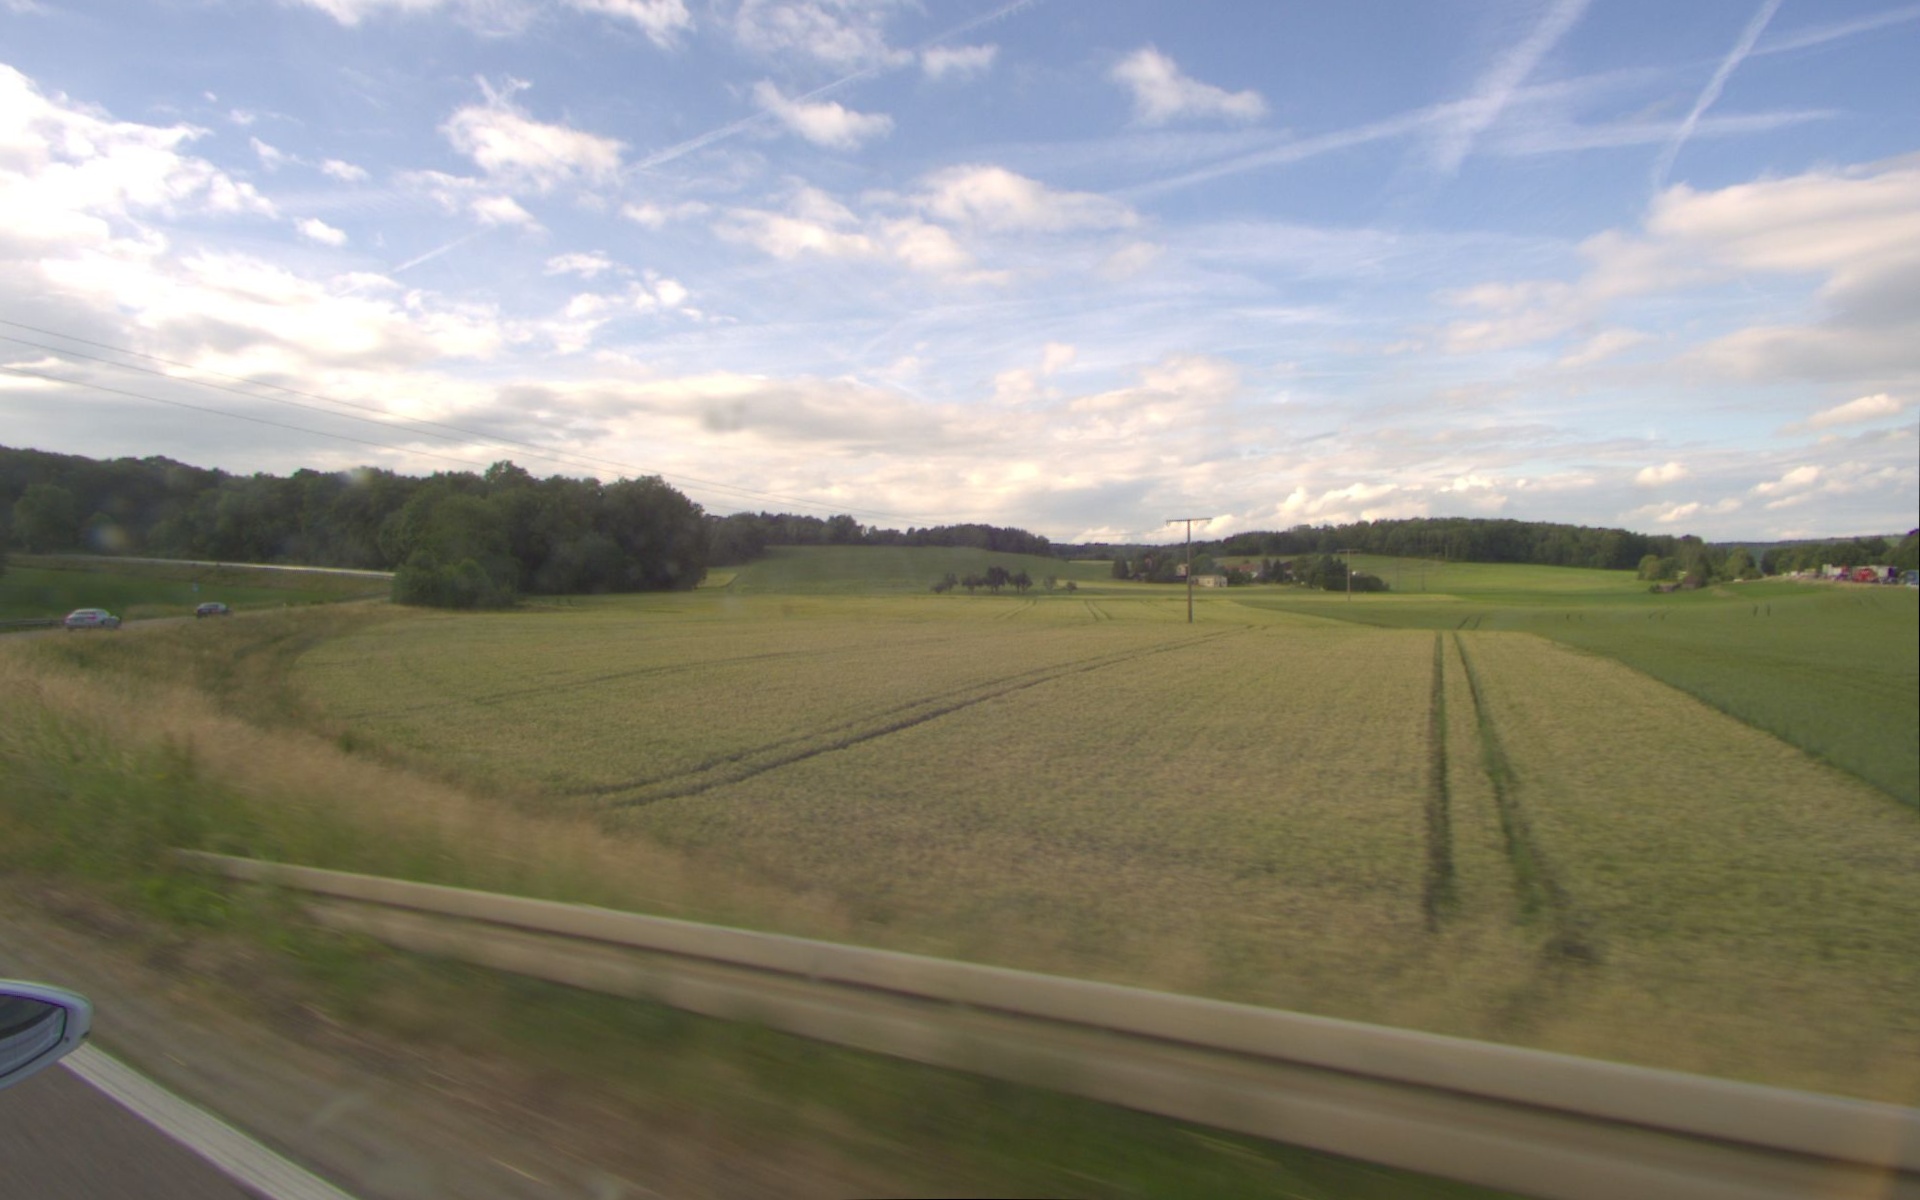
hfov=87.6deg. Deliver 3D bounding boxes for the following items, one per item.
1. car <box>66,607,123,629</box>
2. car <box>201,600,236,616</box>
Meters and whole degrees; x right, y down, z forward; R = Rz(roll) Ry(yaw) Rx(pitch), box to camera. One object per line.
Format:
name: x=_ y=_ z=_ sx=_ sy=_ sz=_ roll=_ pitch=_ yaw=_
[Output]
car: x=-58.428 y=1.183 z=67.698 sx=1.660 sy=1.394 sz=3.987 roll=-2 pitch=1 yaw=-22
car: x=-66.256 y=0.690 z=89.506 sx=1.450 sy=1.244 sz=3.291 roll=-3 pitch=2 yaw=-18
